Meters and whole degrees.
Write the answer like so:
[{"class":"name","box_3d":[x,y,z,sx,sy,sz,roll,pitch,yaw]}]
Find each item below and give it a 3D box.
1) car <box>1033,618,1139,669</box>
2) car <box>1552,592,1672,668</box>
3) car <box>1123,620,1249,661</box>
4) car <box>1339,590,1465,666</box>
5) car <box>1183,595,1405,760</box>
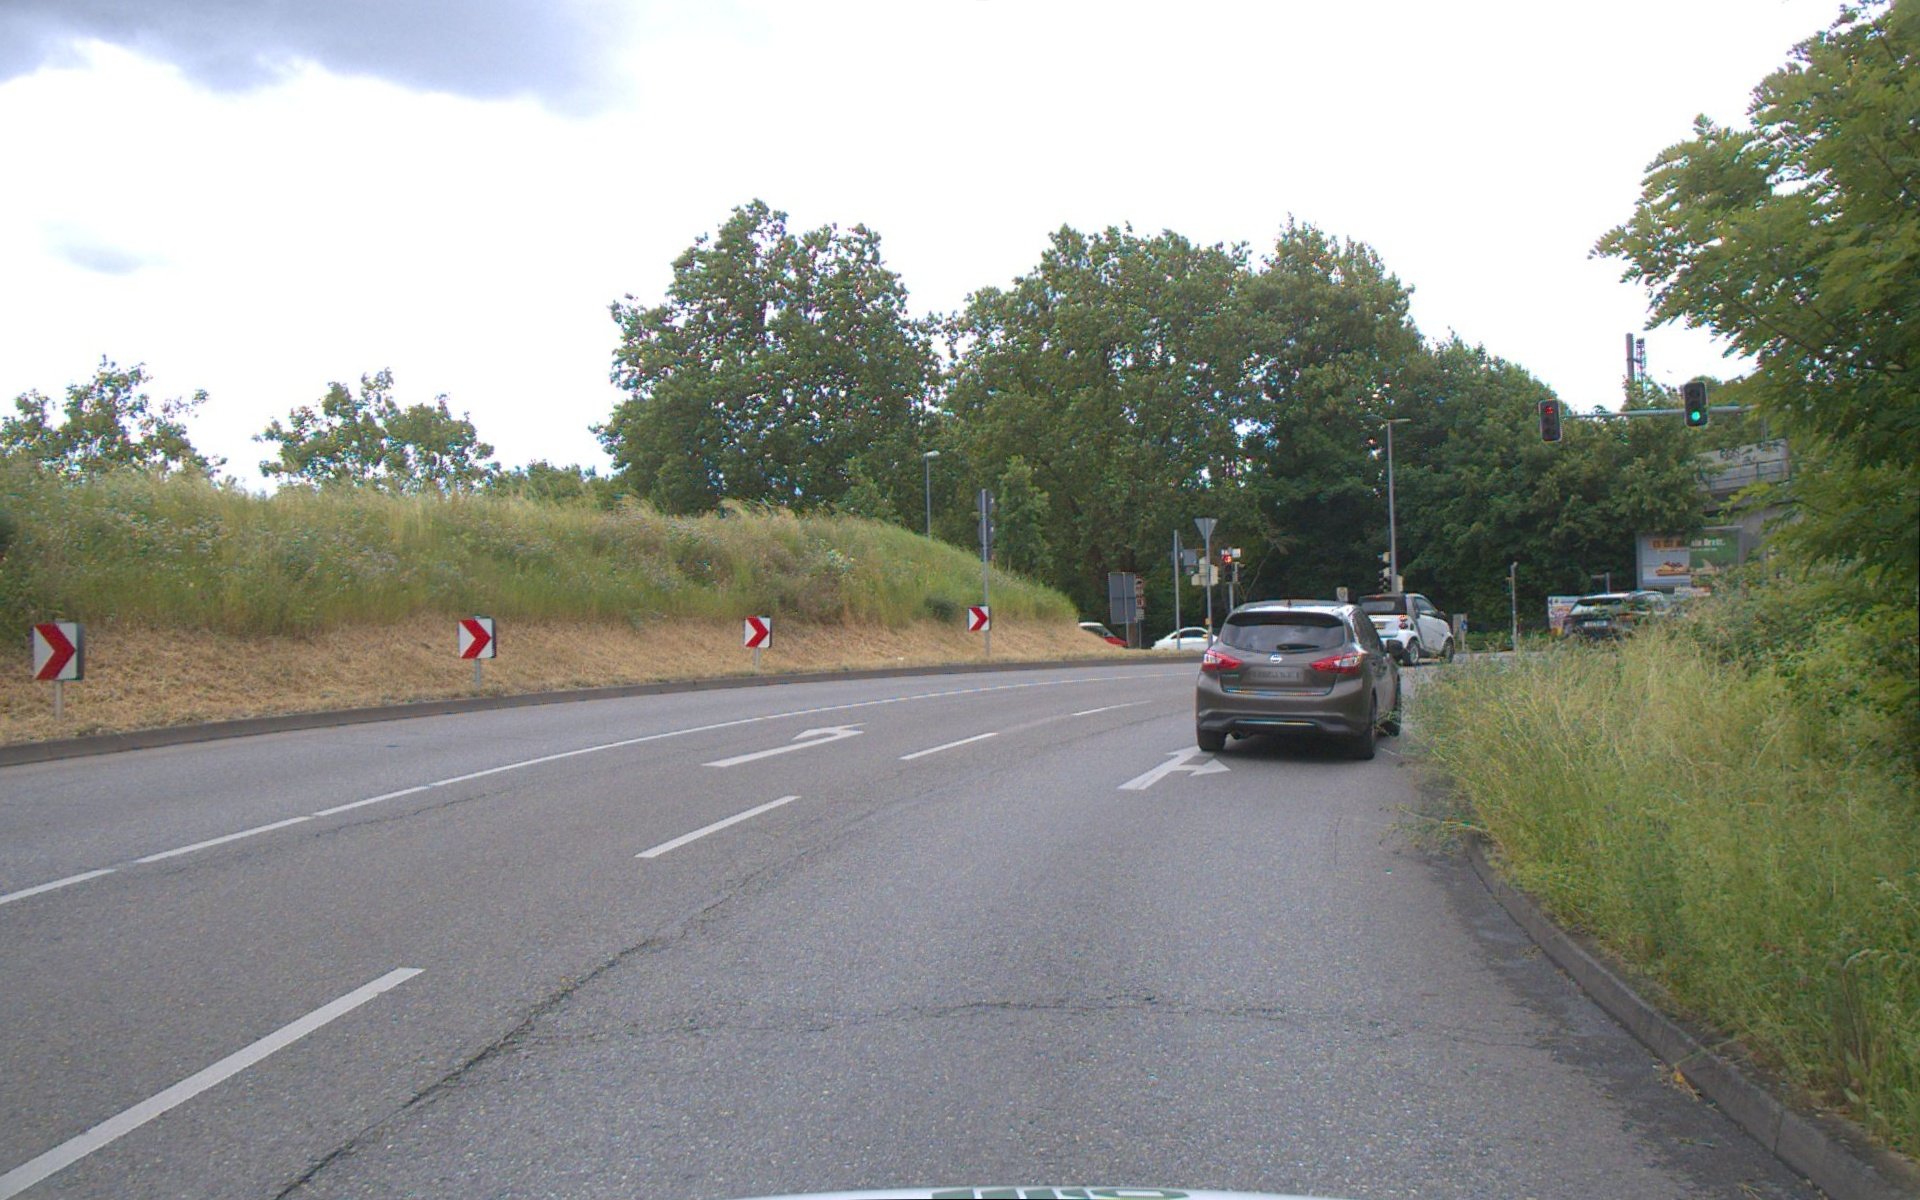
[{"class":"car","box_3d":[4.973,1.750,65.738,1.841,1.845,3.973,0,-4,-44]},{"class":"car","box_3d":[13.935,0.607,35.234,1.864,1.492,3.993,1,0,29]},{"class":"car","box_3d":[8.353,1.533,61.362,1.985,1.362,4.347,3,-5,-44]},{"class":"car","box_3d":[9.799,0.597,36.566,1.552,1.585,2.999,1,0,41]},{"class":"car","box_3d":[3.681,0.727,17.689,1.806,1.519,4.001,1,0,19]}]
